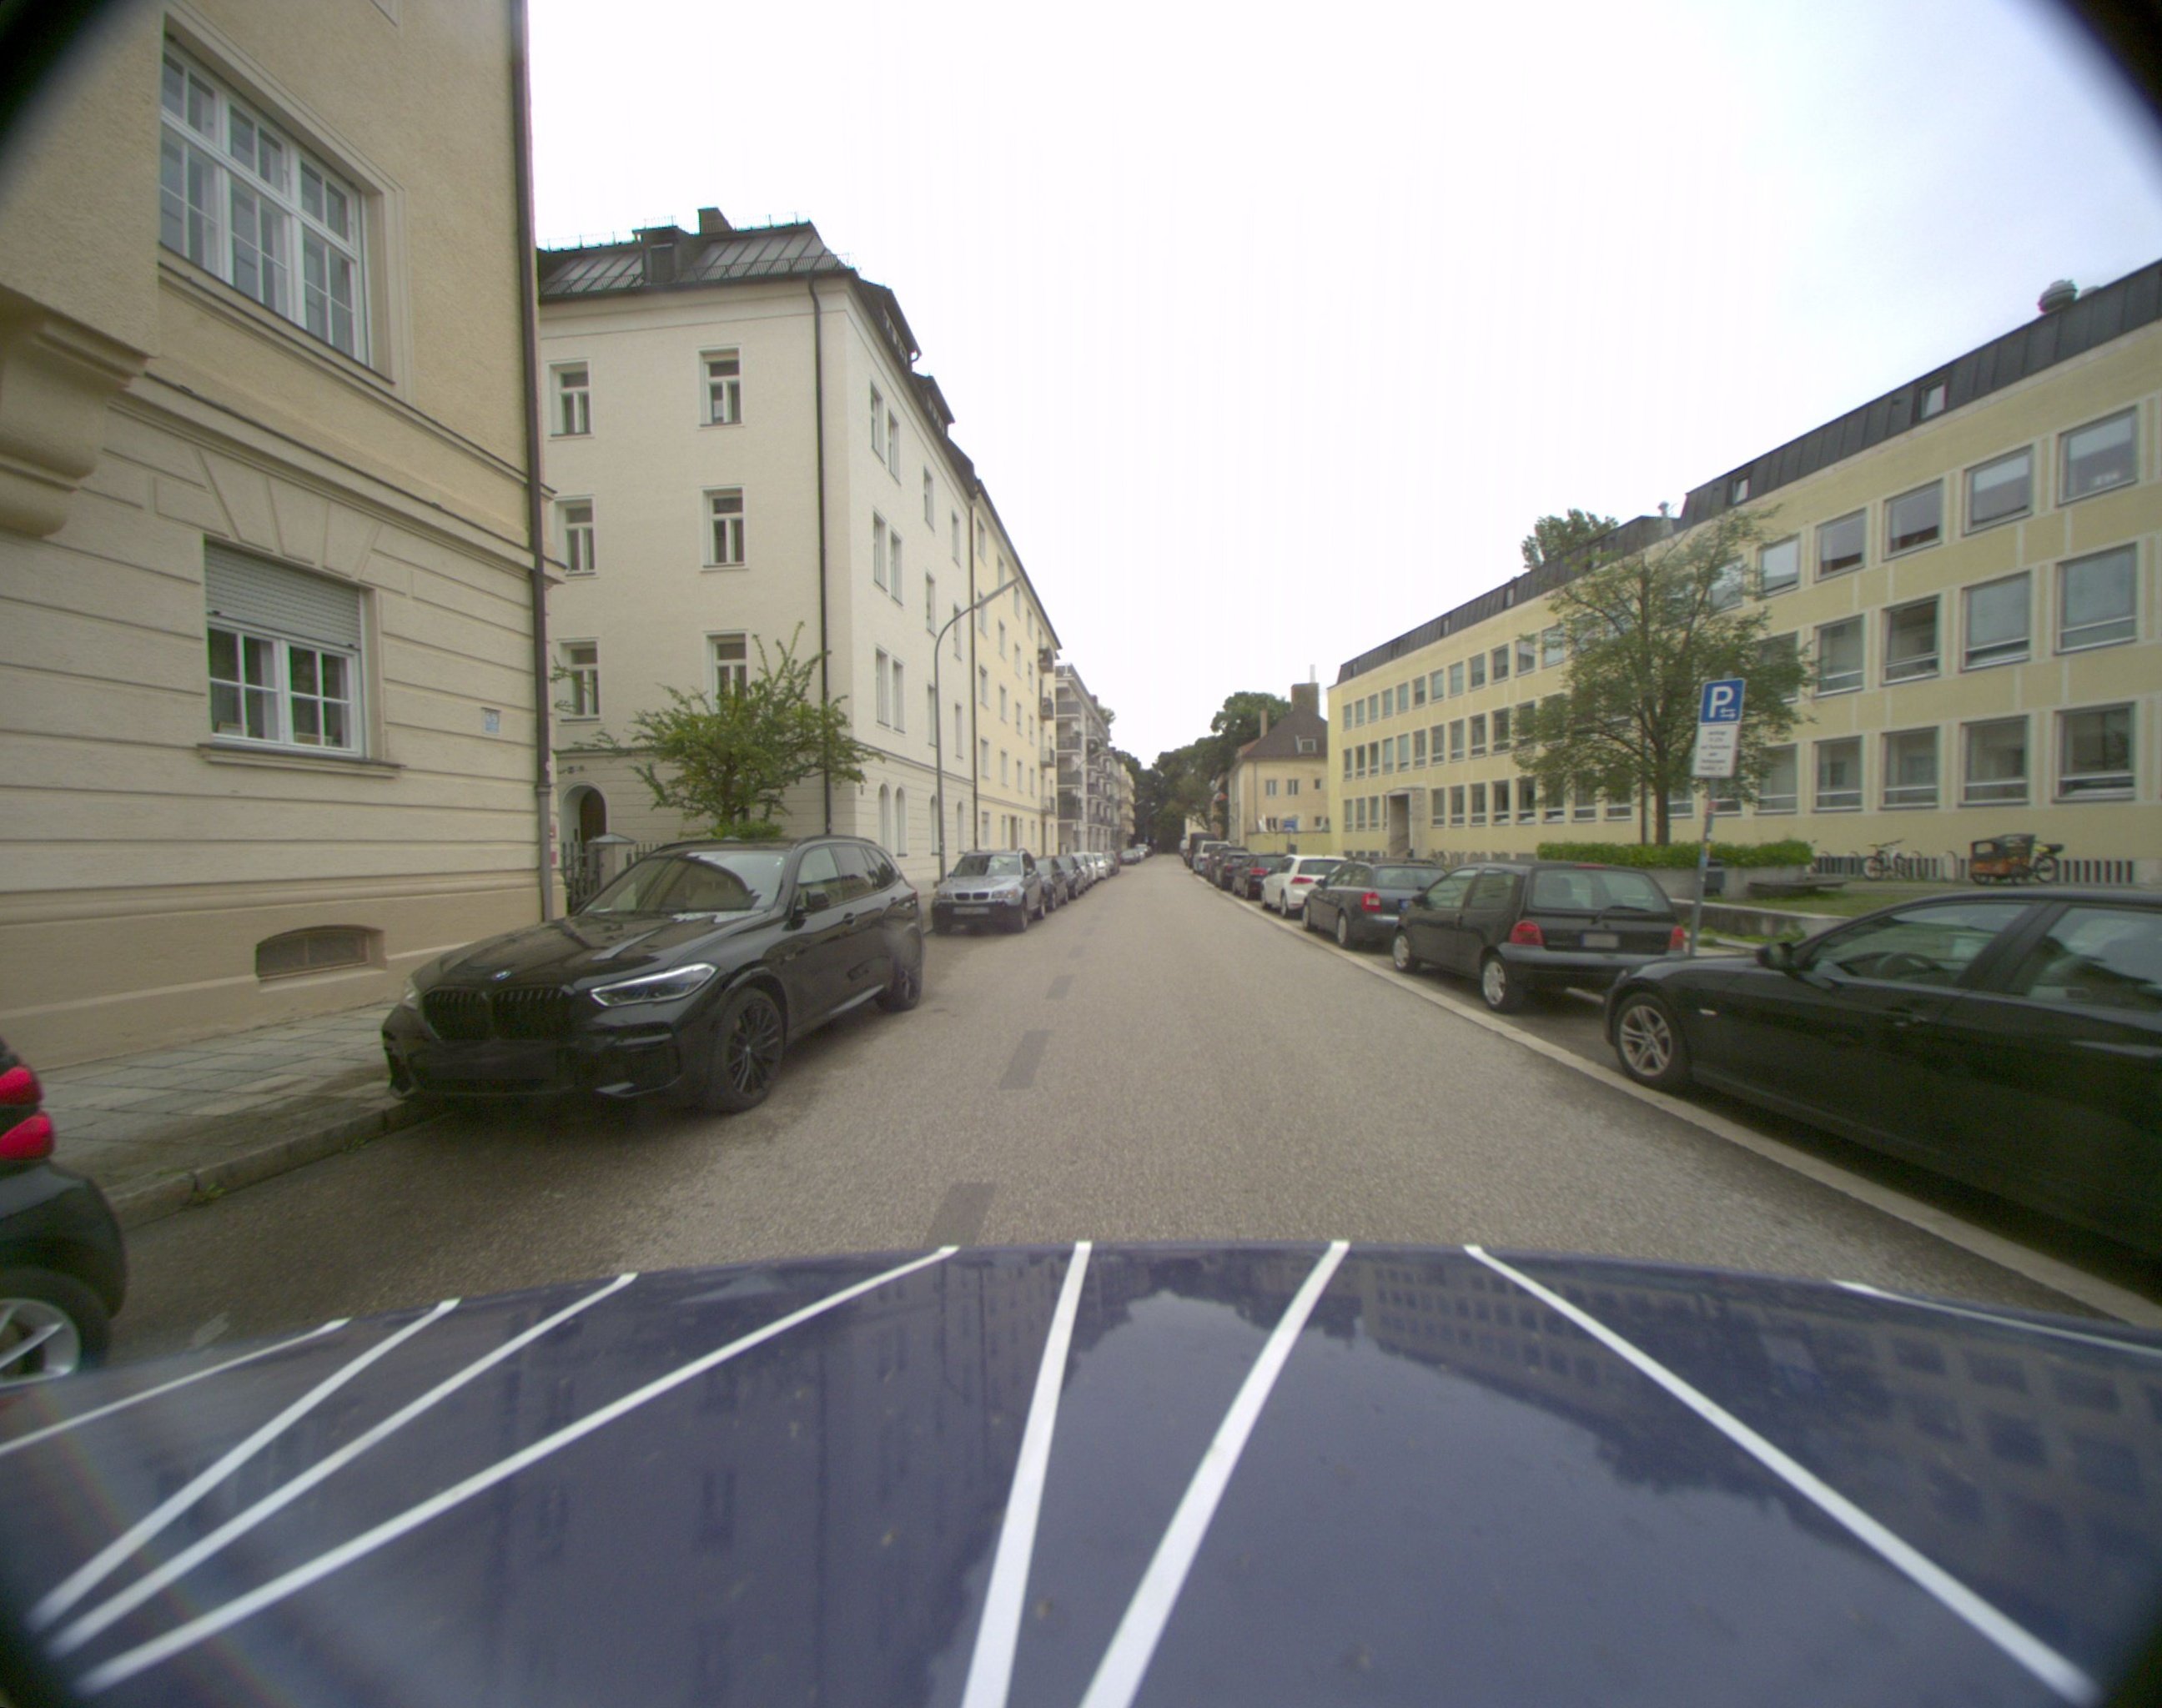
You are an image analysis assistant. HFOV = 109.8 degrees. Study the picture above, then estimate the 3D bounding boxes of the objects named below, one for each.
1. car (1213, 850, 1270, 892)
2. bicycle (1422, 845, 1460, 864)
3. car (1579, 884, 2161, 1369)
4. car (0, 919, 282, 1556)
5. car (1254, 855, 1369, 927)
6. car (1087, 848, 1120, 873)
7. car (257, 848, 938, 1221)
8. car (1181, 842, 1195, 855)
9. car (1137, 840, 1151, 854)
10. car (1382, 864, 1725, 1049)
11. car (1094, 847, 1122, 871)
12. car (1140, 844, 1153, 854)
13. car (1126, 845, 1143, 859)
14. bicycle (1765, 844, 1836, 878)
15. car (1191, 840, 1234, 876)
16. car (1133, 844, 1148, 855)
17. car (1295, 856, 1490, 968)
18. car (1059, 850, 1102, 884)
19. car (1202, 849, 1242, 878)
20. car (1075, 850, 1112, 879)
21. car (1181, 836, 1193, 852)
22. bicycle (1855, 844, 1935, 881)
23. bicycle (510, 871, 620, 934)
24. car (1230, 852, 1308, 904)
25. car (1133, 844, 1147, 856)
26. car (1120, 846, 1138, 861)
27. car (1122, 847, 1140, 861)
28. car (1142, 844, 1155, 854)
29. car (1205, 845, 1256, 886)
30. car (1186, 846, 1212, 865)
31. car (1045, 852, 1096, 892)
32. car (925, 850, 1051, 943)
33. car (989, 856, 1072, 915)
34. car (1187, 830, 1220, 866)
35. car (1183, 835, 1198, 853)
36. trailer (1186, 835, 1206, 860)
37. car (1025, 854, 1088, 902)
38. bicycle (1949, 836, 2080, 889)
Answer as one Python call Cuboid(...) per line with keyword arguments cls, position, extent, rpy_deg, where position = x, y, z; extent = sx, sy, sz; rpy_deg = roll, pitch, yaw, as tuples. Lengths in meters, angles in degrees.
Cuboid(cls="car", position=(6.098, 0.607, 29.248), extent=(1.684, 1.445, 3.871), rpy_deg=(1, 1, 5))
Cuboid(cls="bicycle", position=(20.394, 0.036, 43.075), extent=(1.953, 1.008, 0.580), rpy_deg=(-3, 1, -11))
Cuboid(cls="car", position=(4.388, 0.952, 3.137), extent=(1.803, 1.398, 4.455), rpy_deg=(1, 1, 1))
Cuboid(cls="car", position=(-3.584, 1.025, 0.998), extent=(1.538, 1.515, 3.112), rpy_deg=(-2, 1, 7))
Cuboid(cls="car", position=(5.350, 0.782, 18.146), extent=(1.660, 1.445, 4.073), rpy_deg=(1, 1, 3))
Cuboid(cls="car", position=(1.427, 0.356, 46.690), extent=(1.682, 1.402, 4.422), rpy_deg=(-1, 1, 5))
Cuboid(cls="car", position=(-2.815, 0.868, 6.070), extent=(1.873, 1.707, 4.867), rpy_deg=(-2, 1, 6))
Cuboid(cls="car", position=(14.269, -0.750, 101.319), extent=(1.817, 1.724, 3.651), rpy_deg=(-1, 1, 7))
Cuboid(cls="car", position=(9.303, -1.049, 111.629), extent=(1.870, 2.002, 4.269), rpy_deg=(-1, 1, 7))
Cuboid(cls="car", position=(4.626, 0.885, 8.061), extent=(1.660, 1.445, 3.312), rpy_deg=(1, 1, 3))
Cuboid(cls="car", position=(1.916, 0.318, 52.076), extent=(1.682, 1.489, 3.824), rpy_deg=(-1, 1, 5))
Cuboid(cls="car", position=(10.158, -0.839, 117.210), extent=(1.870, 1.455, 4.269), rpy_deg=(-1, 1, 7))
Cuboid(cls="car", position=(5.951, -0.199, 84.802), extent=(1.765, 1.449, 3.748), rpy_deg=(-1, 1, 6))
Cuboid(cls="bicycle", position=(22.920, 0.221, 24.200), extent=(1.953, 1.008, 0.625), rpy_deg=(-1, 1, -11))
Cuboid(cls="car", position=(7.660, 0.170, 44.571), extent=(1.932, 1.968, 5.023), rpy_deg=(0, 1, 3))
Cuboid(cls="car", position=(8.100, -0.631, 103.041), extent=(1.765, 1.449, 3.749), rpy_deg=(-1, 1, 9))
Cuboid(cls="car", position=(4.923, 0.813, 12.724), extent=(1.758, 1.445, 4.397), rpy_deg=(1, 1, 5))
Cuboid(cls="car", position=(0.031, 0.566, 36.550), extent=(1.683, 1.473, 4.167), rpy_deg=(-1, 1, 4))
Cuboid(cls="car", position=(7.353, 0.464, 39.838), extent=(1.747, 1.379, 3.919), rpy_deg=(-2, 1, 6))
Cuboid(cls="car", position=(0.744, 0.538, 41.347), extent=(1.682, 1.402, 4.444), rpy_deg=(-1, 1, 5))
Cuboid(cls="car", position=(17.893, -1.715, 127.927), extent=(1.880, 2.539, 4.372), rpy_deg=(-1, 1, 8))
Cuboid(cls="bicycle", position=(23.419, 0.234, 21.861), extent=(1.953, 1.008, 0.625), rpy_deg=(-1, 1, -11))
Cuboid(cls="bicycle", position=(-9.817, 0.904, 14.470), extent=(1.875, 1.088, 0.581), rpy_deg=(1, 2, 12))
Cuboid(cls="car", position=(5.843, 0.677, 24.039), extent=(1.660, 1.445, 3.974), rpy_deg=(1, 1, 3))
Cuboid(cls="car", position=(7.522, -0.477, 96.510), extent=(1.765, 1.449, 3.748), rpy_deg=(-1, 1, 6))
Cuboid(cls="car", position=(4.741, -0.048, 75.349), extent=(1.783, 1.386, 4.247), rpy_deg=(-1, 1, 3))
Cuboid(cls="car", position=(5.304, -0.028, 80.090), extent=(1.765, 1.449, 3.419), rpy_deg=(-1, 1, 6))
Cuboid(cls="car", position=(11.299, -0.854, 127.301), extent=(1.870, 1.455, 4.269), rpy_deg=(-1, 1, 7))
Cuboid(cls="car", position=(6.657, 0.458, 34.272), extent=(1.747, 1.656, 4.450), rpy_deg=(2, 1, 5))
Cuboid(cls="car", position=(9.696, 0.093, 62.657), extent=(1.705, 1.485, 3.489), rpy_deg=(-1, 1, 2))
Cuboid(cls="car", position=(-0.363, 0.684, 31.293), extent=(1.683, 1.419, 4.167), rpy_deg=(-1, 1, 4))
Cuboid(cls="car", position=(-1.810, 0.779, 16.257), extent=(1.726, 1.625, 4.458), rpy_deg=(-1, 1, 5))
Cuboid(cls="car", position=(-1.317, 0.813, 21.413), extent=(1.682, 1.419, 4.088), rpy_deg=(-1, 1, 5))
Cuboid(cls="car", position=(9.202, -0.467, 57.582), extent=(2.301, 2.630, 5.655), rpy_deg=(0, 1, 8))
Cuboid(cls="car", position=(16.030, -1.481, 111.557), extent=(2.103, 2.418, 4.551), rpy_deg=(-1, 1, 9))
Cuboid(cls="trailer", position=(11.969, -0.718, 79.035), extent=(1.816, 2.521, 3.391), rpy_deg=(3, 2, 11))
Cuboid(cls="car", position=(-0.756, 0.769, 26.190), extent=(1.683, 1.419, 4.392), rpy_deg=(-1, 1, 4))
Cuboid(cls="bicycle", position=(23.612, 0.200, 19.239), extent=(2.443, 1.241, 1.055), rpy_deg=(-1, 1, -11))
